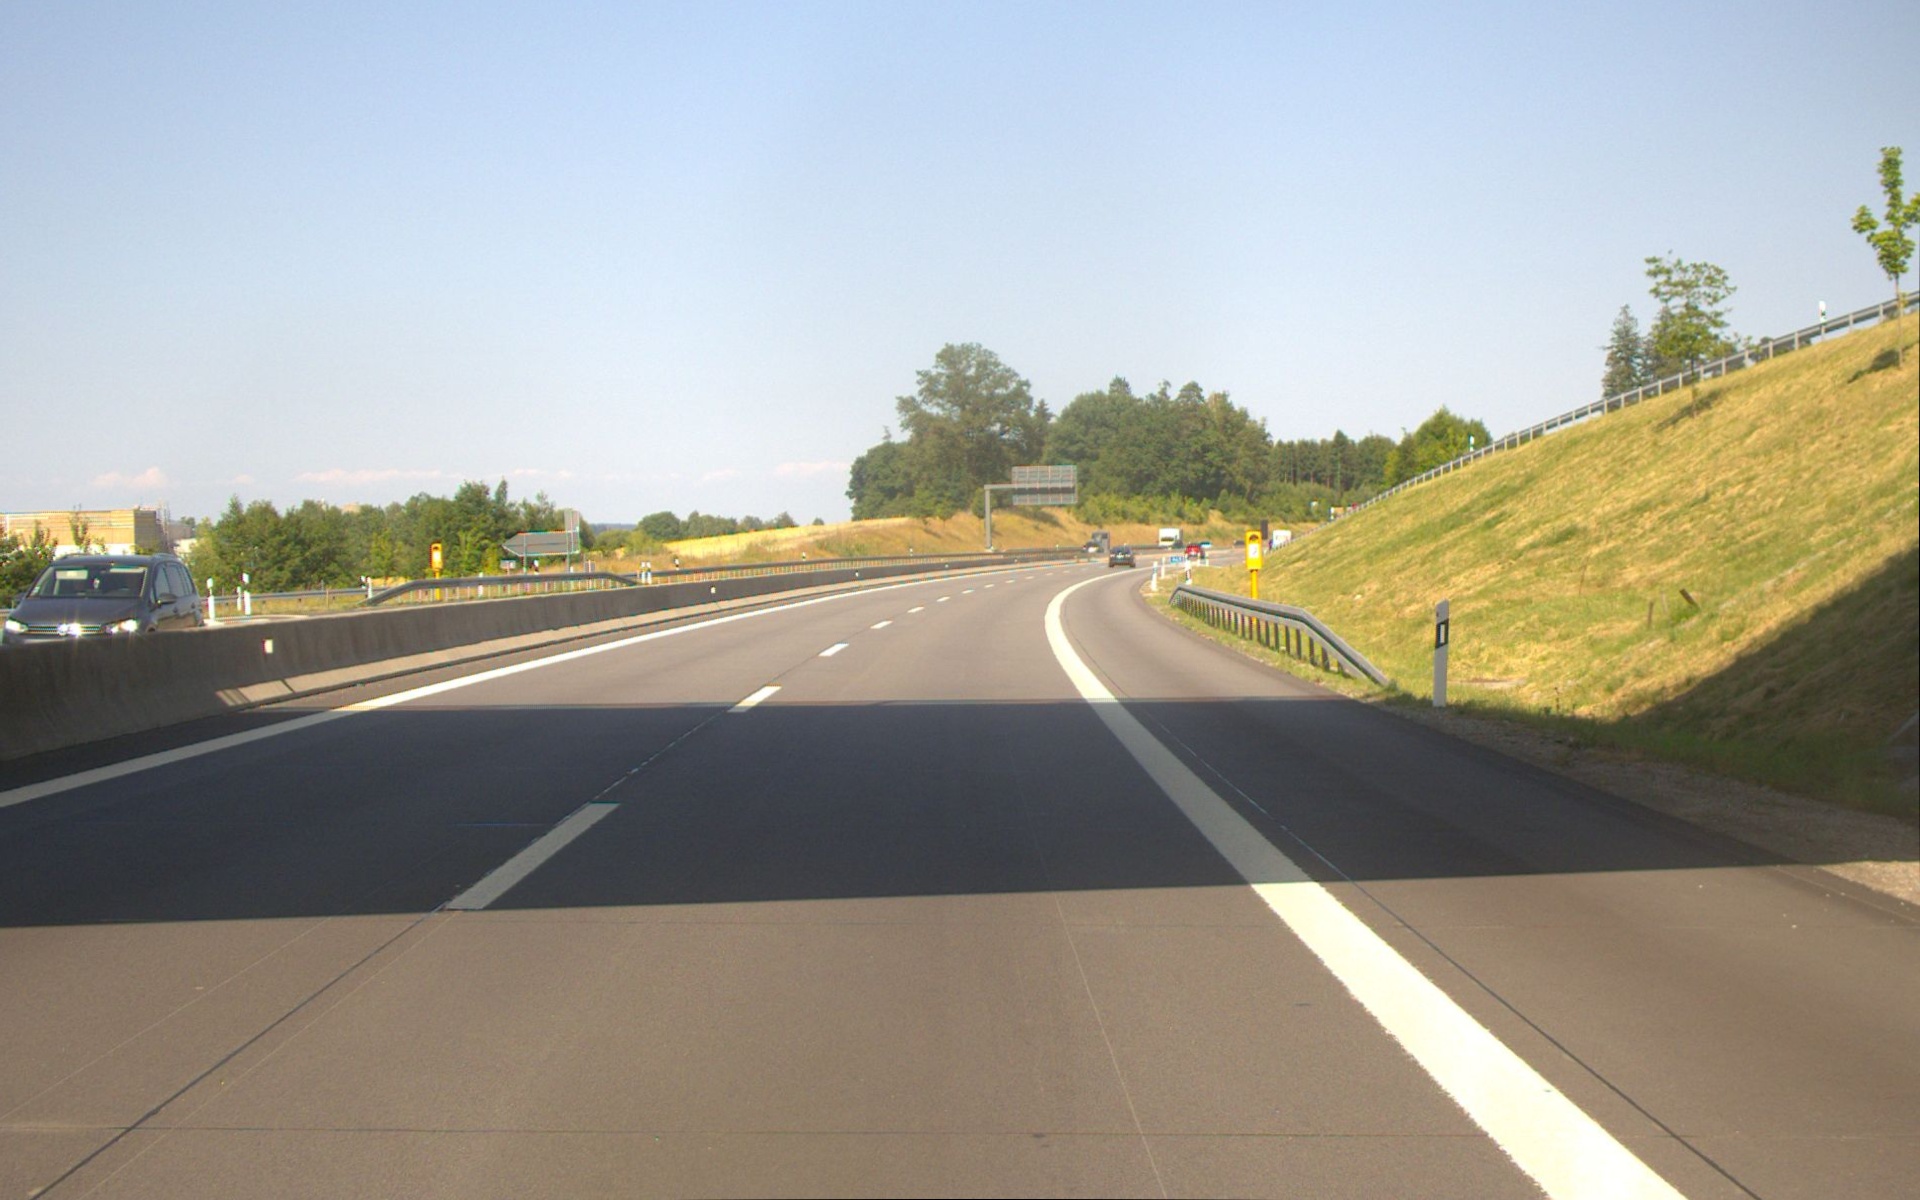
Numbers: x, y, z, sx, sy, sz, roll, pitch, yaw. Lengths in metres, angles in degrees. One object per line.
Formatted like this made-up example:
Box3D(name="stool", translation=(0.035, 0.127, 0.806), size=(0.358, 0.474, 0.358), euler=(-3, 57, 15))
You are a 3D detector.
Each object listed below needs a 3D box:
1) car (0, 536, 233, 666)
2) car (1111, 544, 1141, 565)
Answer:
Box3D(name="car", translation=(-10.893, -0.025, 44.223), size=(2.069, 1.569, 4.927), euler=(0, 1, 0))
Box3D(name="car", translation=(11.937, -3.251, 247.150), size=(1.994, 1.415, 3.999), euler=(-2, 1, 5))
